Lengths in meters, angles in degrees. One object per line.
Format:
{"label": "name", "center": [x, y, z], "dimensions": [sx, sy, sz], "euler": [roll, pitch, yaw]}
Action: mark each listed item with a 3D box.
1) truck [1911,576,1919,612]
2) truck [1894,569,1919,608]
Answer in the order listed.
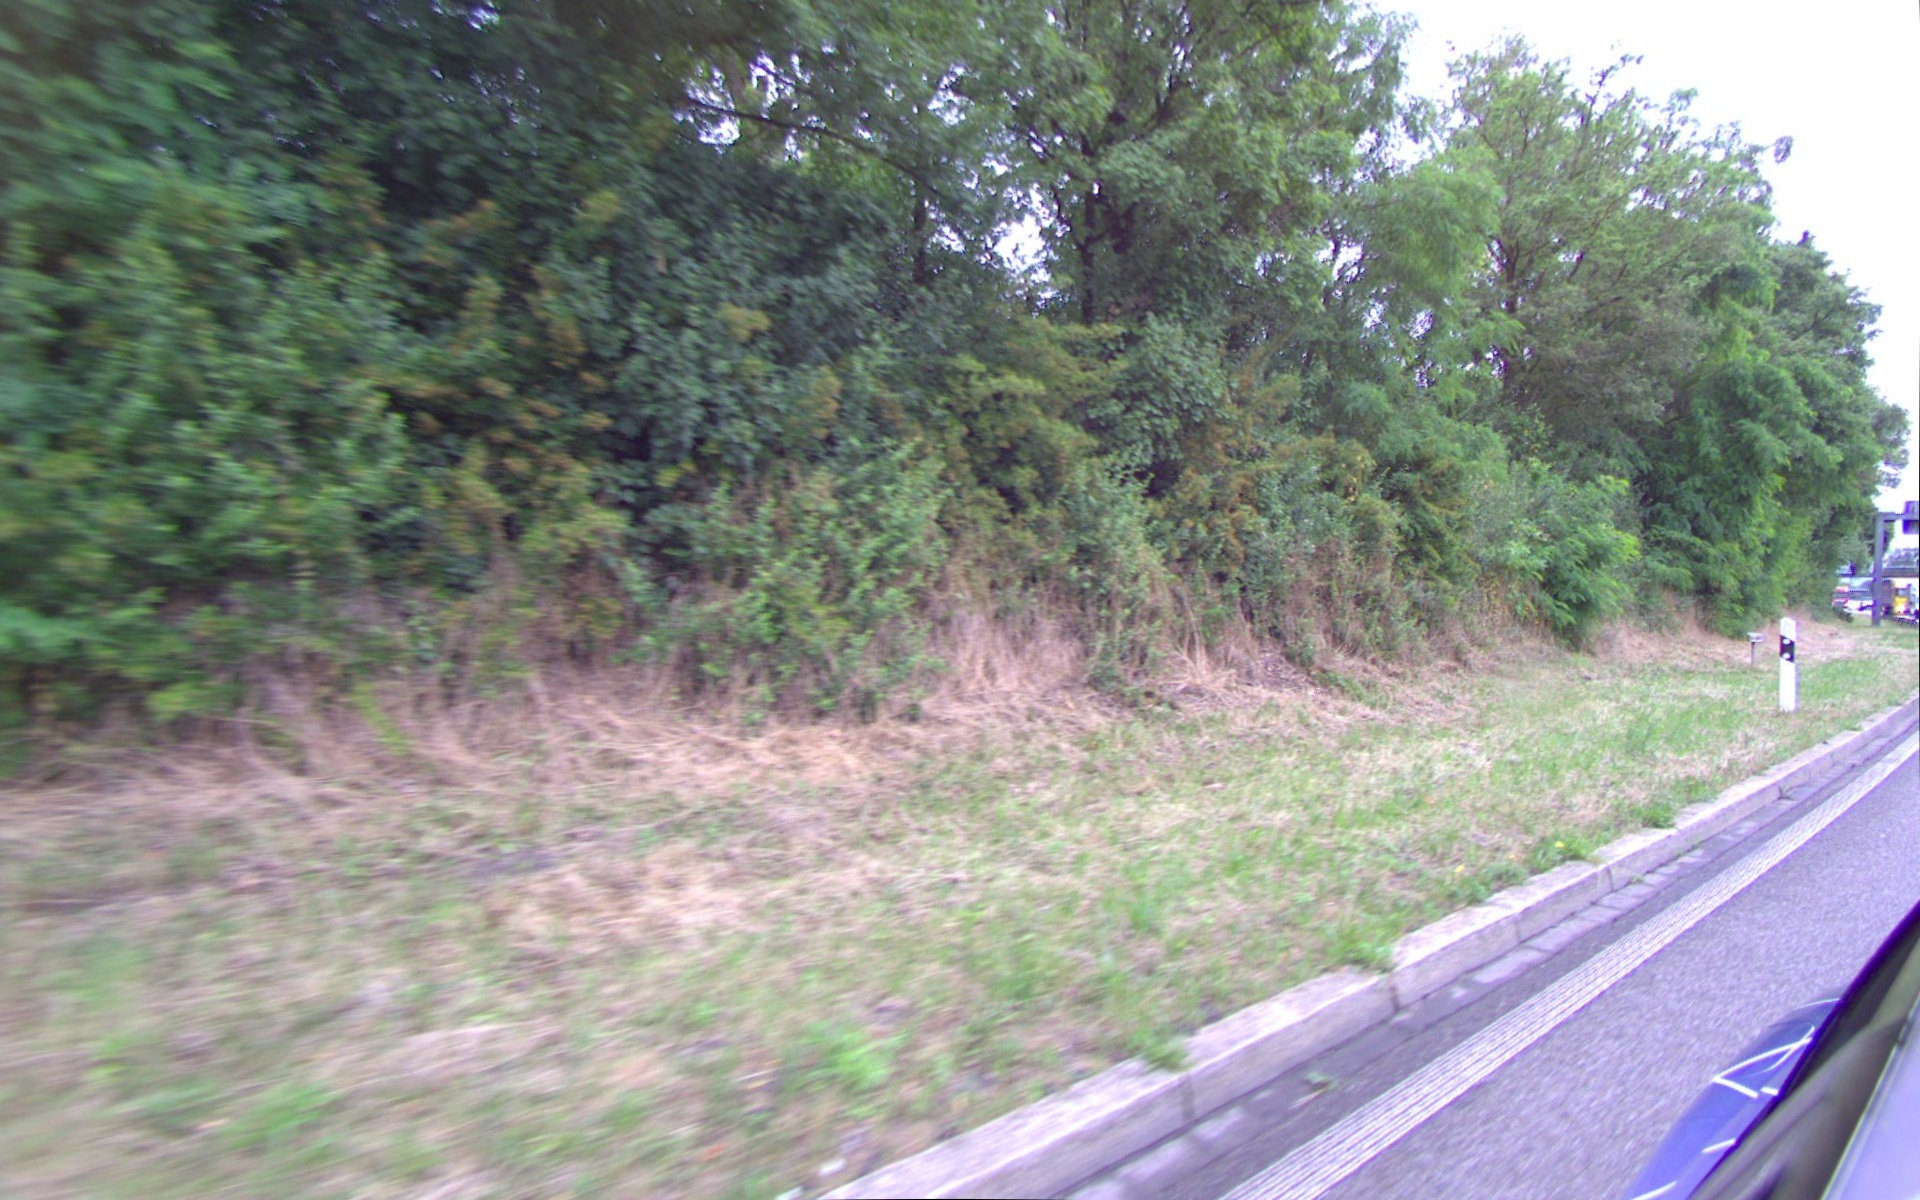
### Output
{"label": "truck", "center": [87.342, -0.527, 89.904], "dimensions": [3.349, 3.156, 7.143], "euler": [0, 1, 37]}
{"label": "truck", "center": [106.452, -1.302, 112.220], "dimensions": [3.350, 4.115, 10.046], "euler": [0, 1, 38]}
